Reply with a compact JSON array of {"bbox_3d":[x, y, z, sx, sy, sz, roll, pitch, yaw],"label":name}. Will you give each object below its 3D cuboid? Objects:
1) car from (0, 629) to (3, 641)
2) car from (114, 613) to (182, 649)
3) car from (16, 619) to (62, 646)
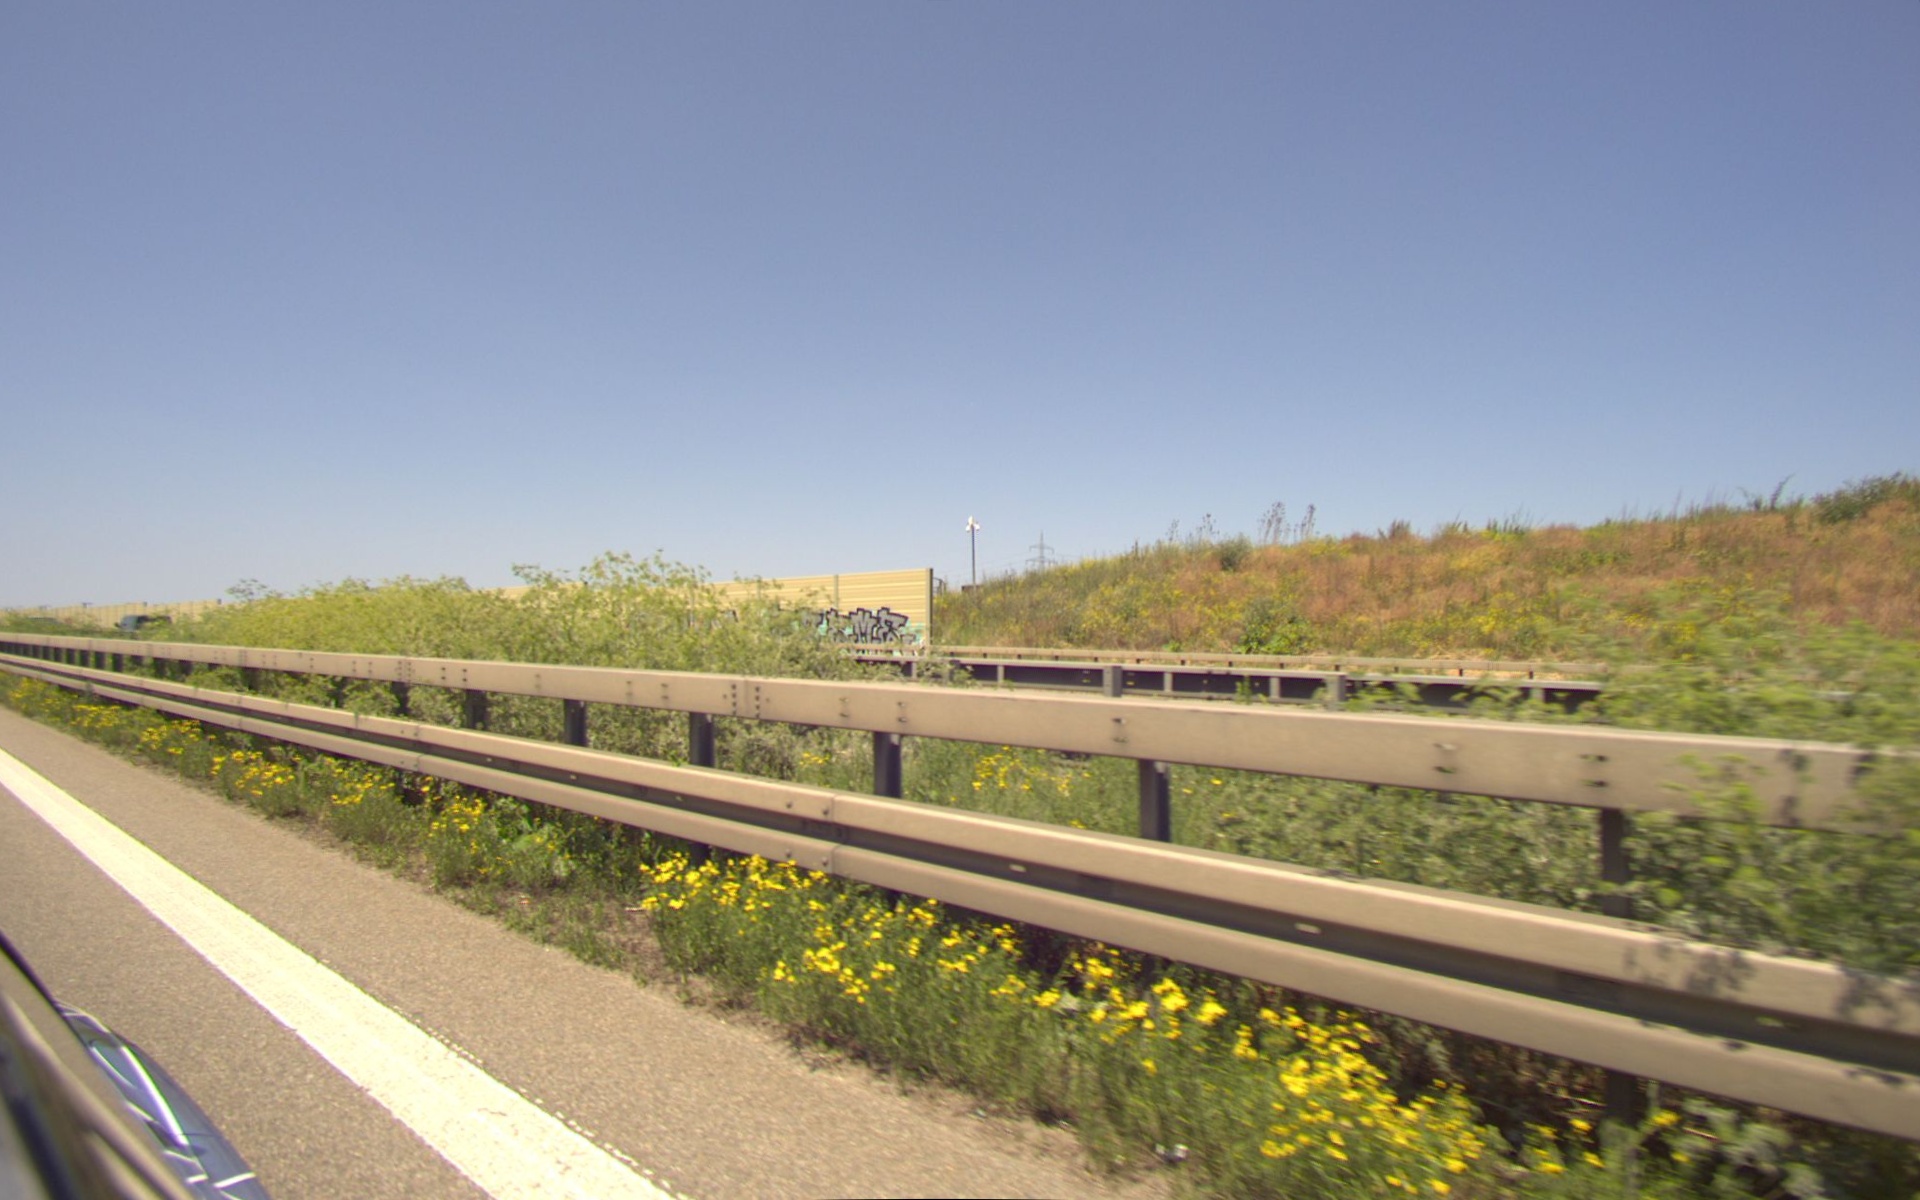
[{"bbox_3d":[-119.818,4.307,124.957,3.997,1.431,1.973,-1,-1,40],"label":"car"},{"bbox_3d":[-47.045,1.787,58.595,5.852,1.955,1.973,-1,-4,41],"label":"car"},{"bbox_3d":[-73.555,2.551,80.781,5.910,1.976,1.973,-1,0,41],"label":"car"}]
